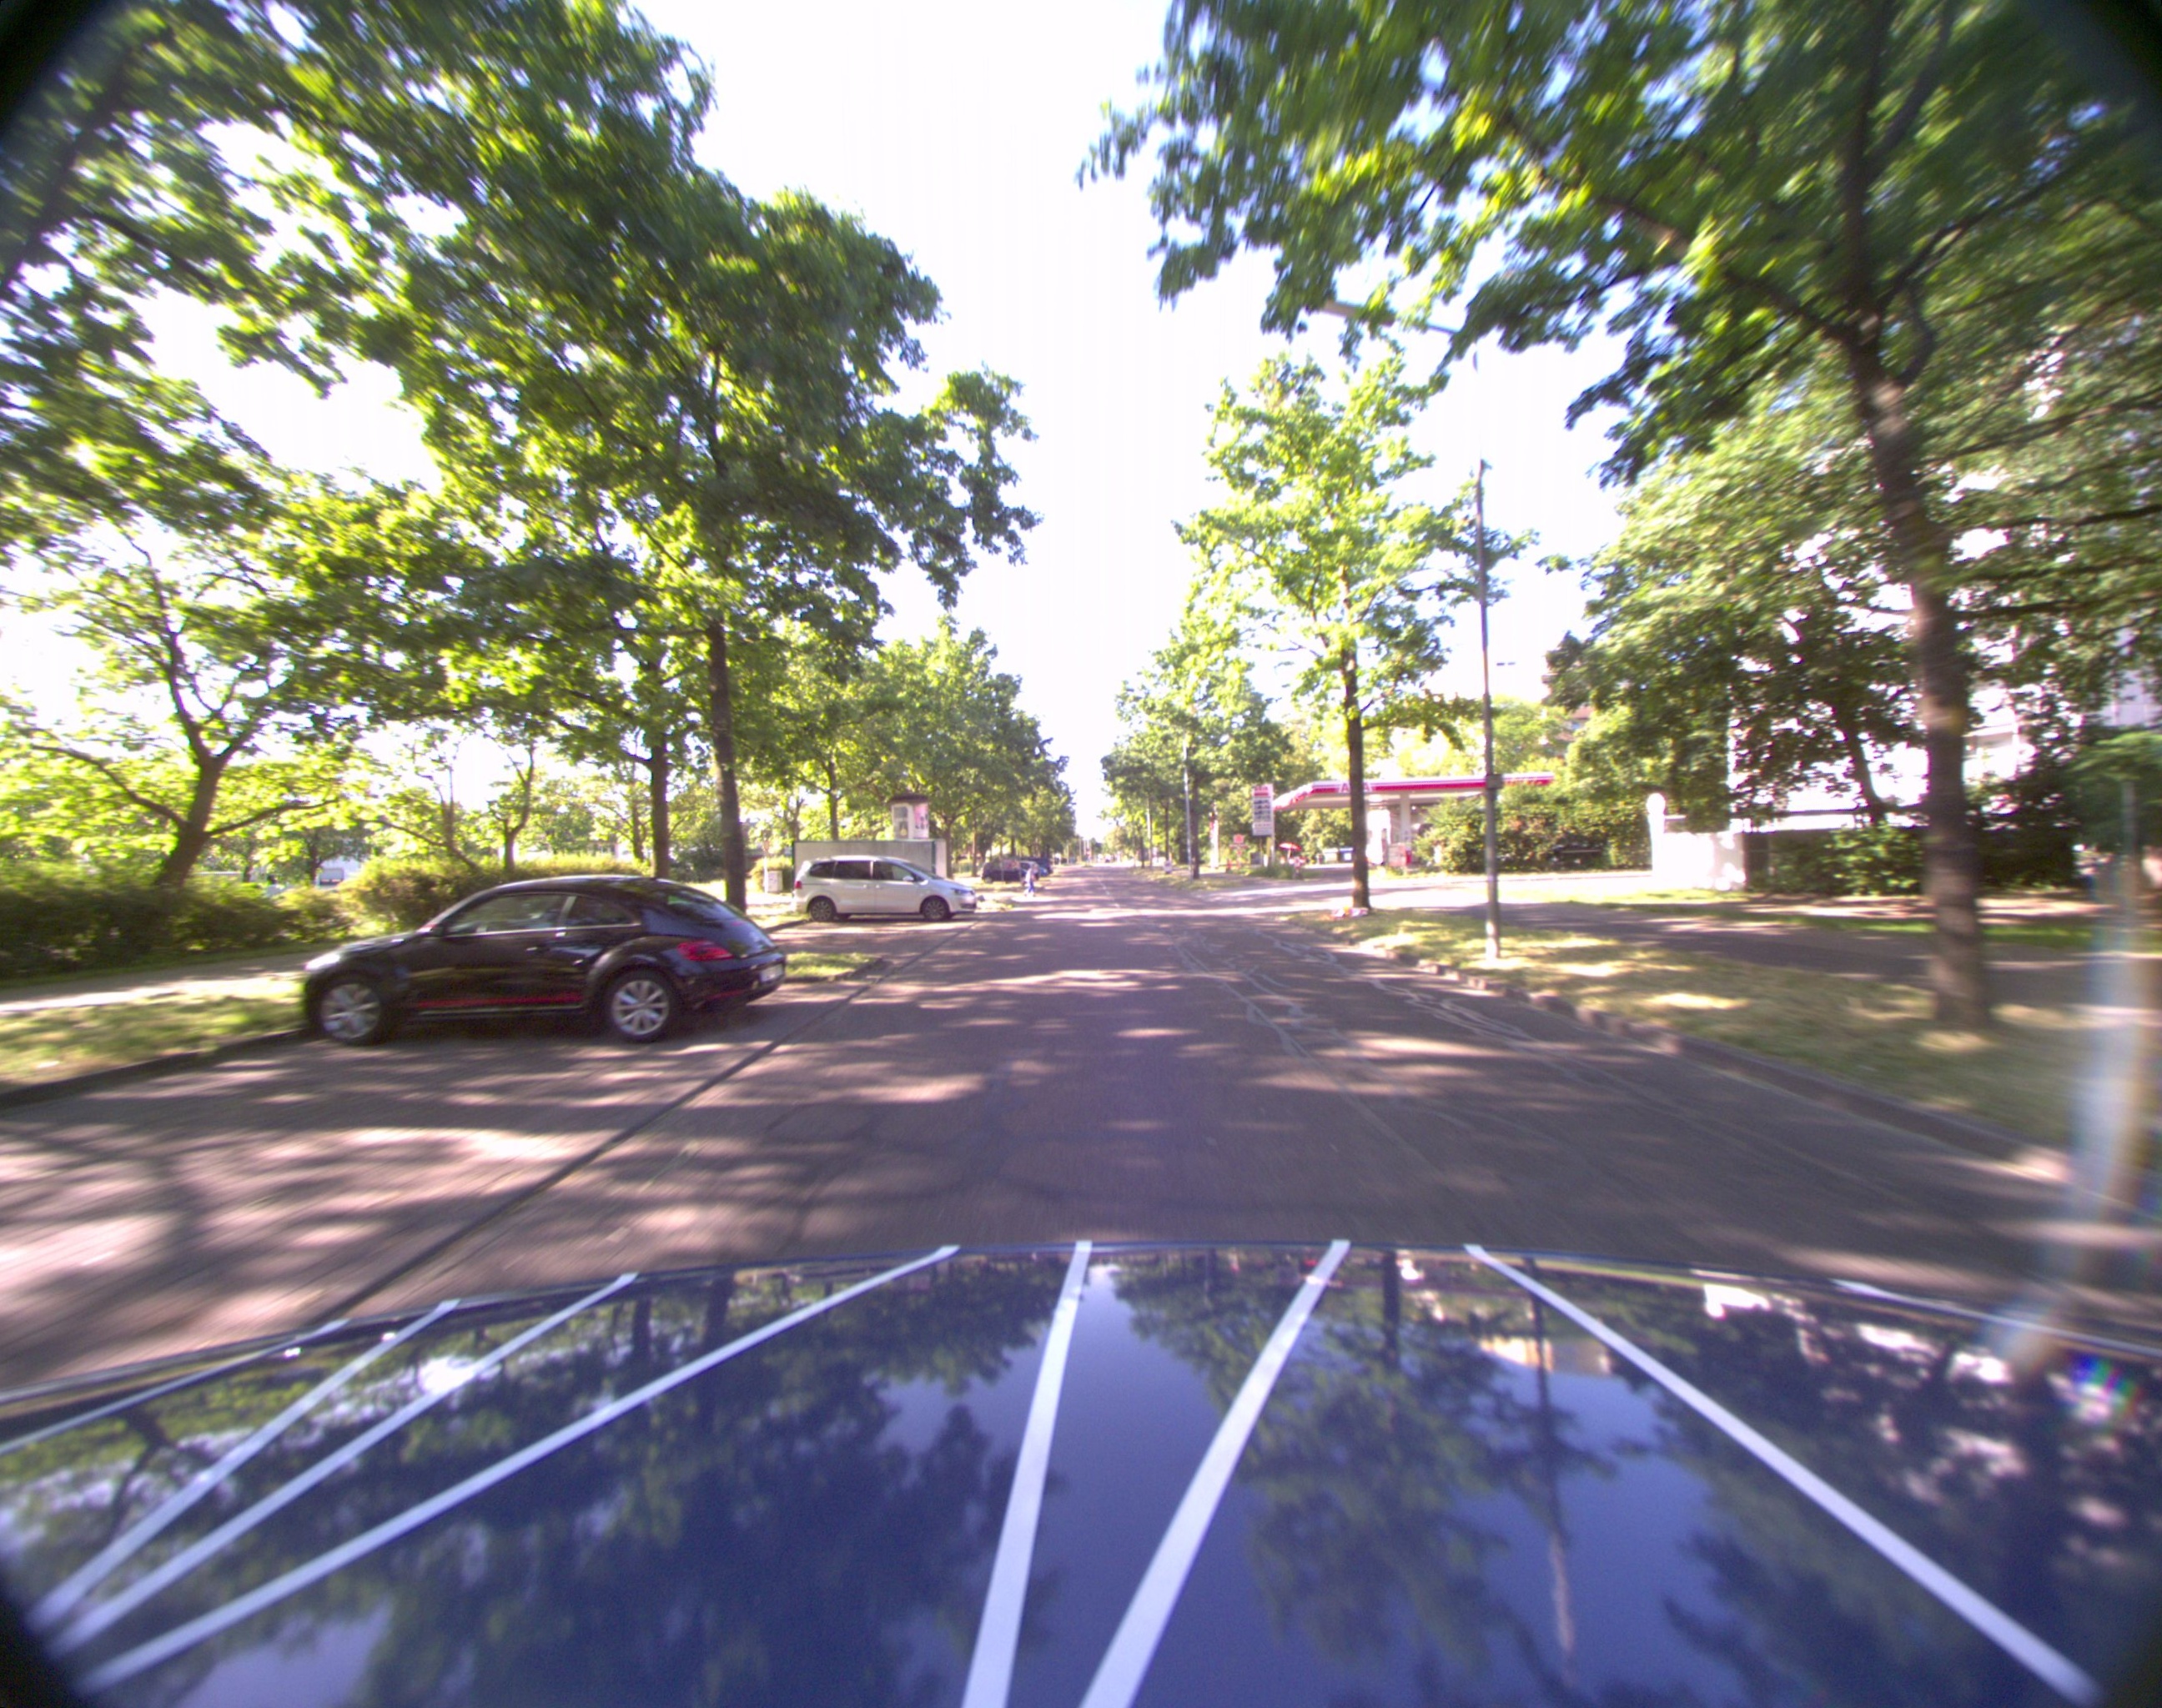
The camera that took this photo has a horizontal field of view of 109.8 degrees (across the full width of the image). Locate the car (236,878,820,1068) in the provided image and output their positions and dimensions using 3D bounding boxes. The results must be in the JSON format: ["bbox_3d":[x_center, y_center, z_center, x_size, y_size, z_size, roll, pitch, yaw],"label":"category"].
[{"bbox_3d":[-5.094,1.055,7.526,4.255,1.510,2.078,-1,0,1],"label":"car"}]

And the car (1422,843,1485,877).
[{"bbox_3d":[17.165,0.247,35.135,1.549,1.414,3.489,-4,0,8],"label":"car"}]

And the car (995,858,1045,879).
[{"bbox_3d":[-4.609,1.091,57.857,3.592,1.567,1.786,0,0,2],"label":"car"}]

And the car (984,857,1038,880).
[{"bbox_3d":[-4.859,1.003,52.924,3.593,1.567,1.857,0,0,-1],"label":"car"}]

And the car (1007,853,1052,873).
[{"bbox_3d":[-4.722,0.829,70.267,4.020,1.826,1.799,0,1,-2],"label":"car"}]

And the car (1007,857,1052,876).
[{"bbox_3d":[-4.206,0.992,62.529,3.529,1.523,1.665,0,0,2],"label":"car"}]

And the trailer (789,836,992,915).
[{"bbox_3d":[-5.724,0.640,23.230,5.788,2.304,1.686,0,0,2],"label":"trailer"}]

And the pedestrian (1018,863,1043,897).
[{"bbox_3d":[-2.248,1.139,34.022,0.942,1.491,0.886,-1,0,9],"label":"pedestrian"}]

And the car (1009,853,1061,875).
[{"bbox_3d":[-4.391,0.924,72.532,4.815,2.020,1.944,-1,0,0],"label":"car"}]

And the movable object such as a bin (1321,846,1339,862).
[{"bbox_3d":[23.428,-0.002,71.475,1.307,1.533,1.268,-2,0,1],"label":"movable object such as a bin"}]

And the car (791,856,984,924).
[{"bbox_3d":[-5.073,0.929,20.395,4.653,1.712,1.987,0,0,1],"label":"car"}]

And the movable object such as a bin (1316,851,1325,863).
[{"bbox_3d":[22.527,0.260,71.424,0.570,1.079,0.768,-2,0,1],"label":"movable object such as a bin"}]

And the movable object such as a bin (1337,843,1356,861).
[{"bbox_3d":[24.920,-0.179,71.286,1.307,1.533,1.164,-3,0,1],"label":"movable object such as a bin"}]
